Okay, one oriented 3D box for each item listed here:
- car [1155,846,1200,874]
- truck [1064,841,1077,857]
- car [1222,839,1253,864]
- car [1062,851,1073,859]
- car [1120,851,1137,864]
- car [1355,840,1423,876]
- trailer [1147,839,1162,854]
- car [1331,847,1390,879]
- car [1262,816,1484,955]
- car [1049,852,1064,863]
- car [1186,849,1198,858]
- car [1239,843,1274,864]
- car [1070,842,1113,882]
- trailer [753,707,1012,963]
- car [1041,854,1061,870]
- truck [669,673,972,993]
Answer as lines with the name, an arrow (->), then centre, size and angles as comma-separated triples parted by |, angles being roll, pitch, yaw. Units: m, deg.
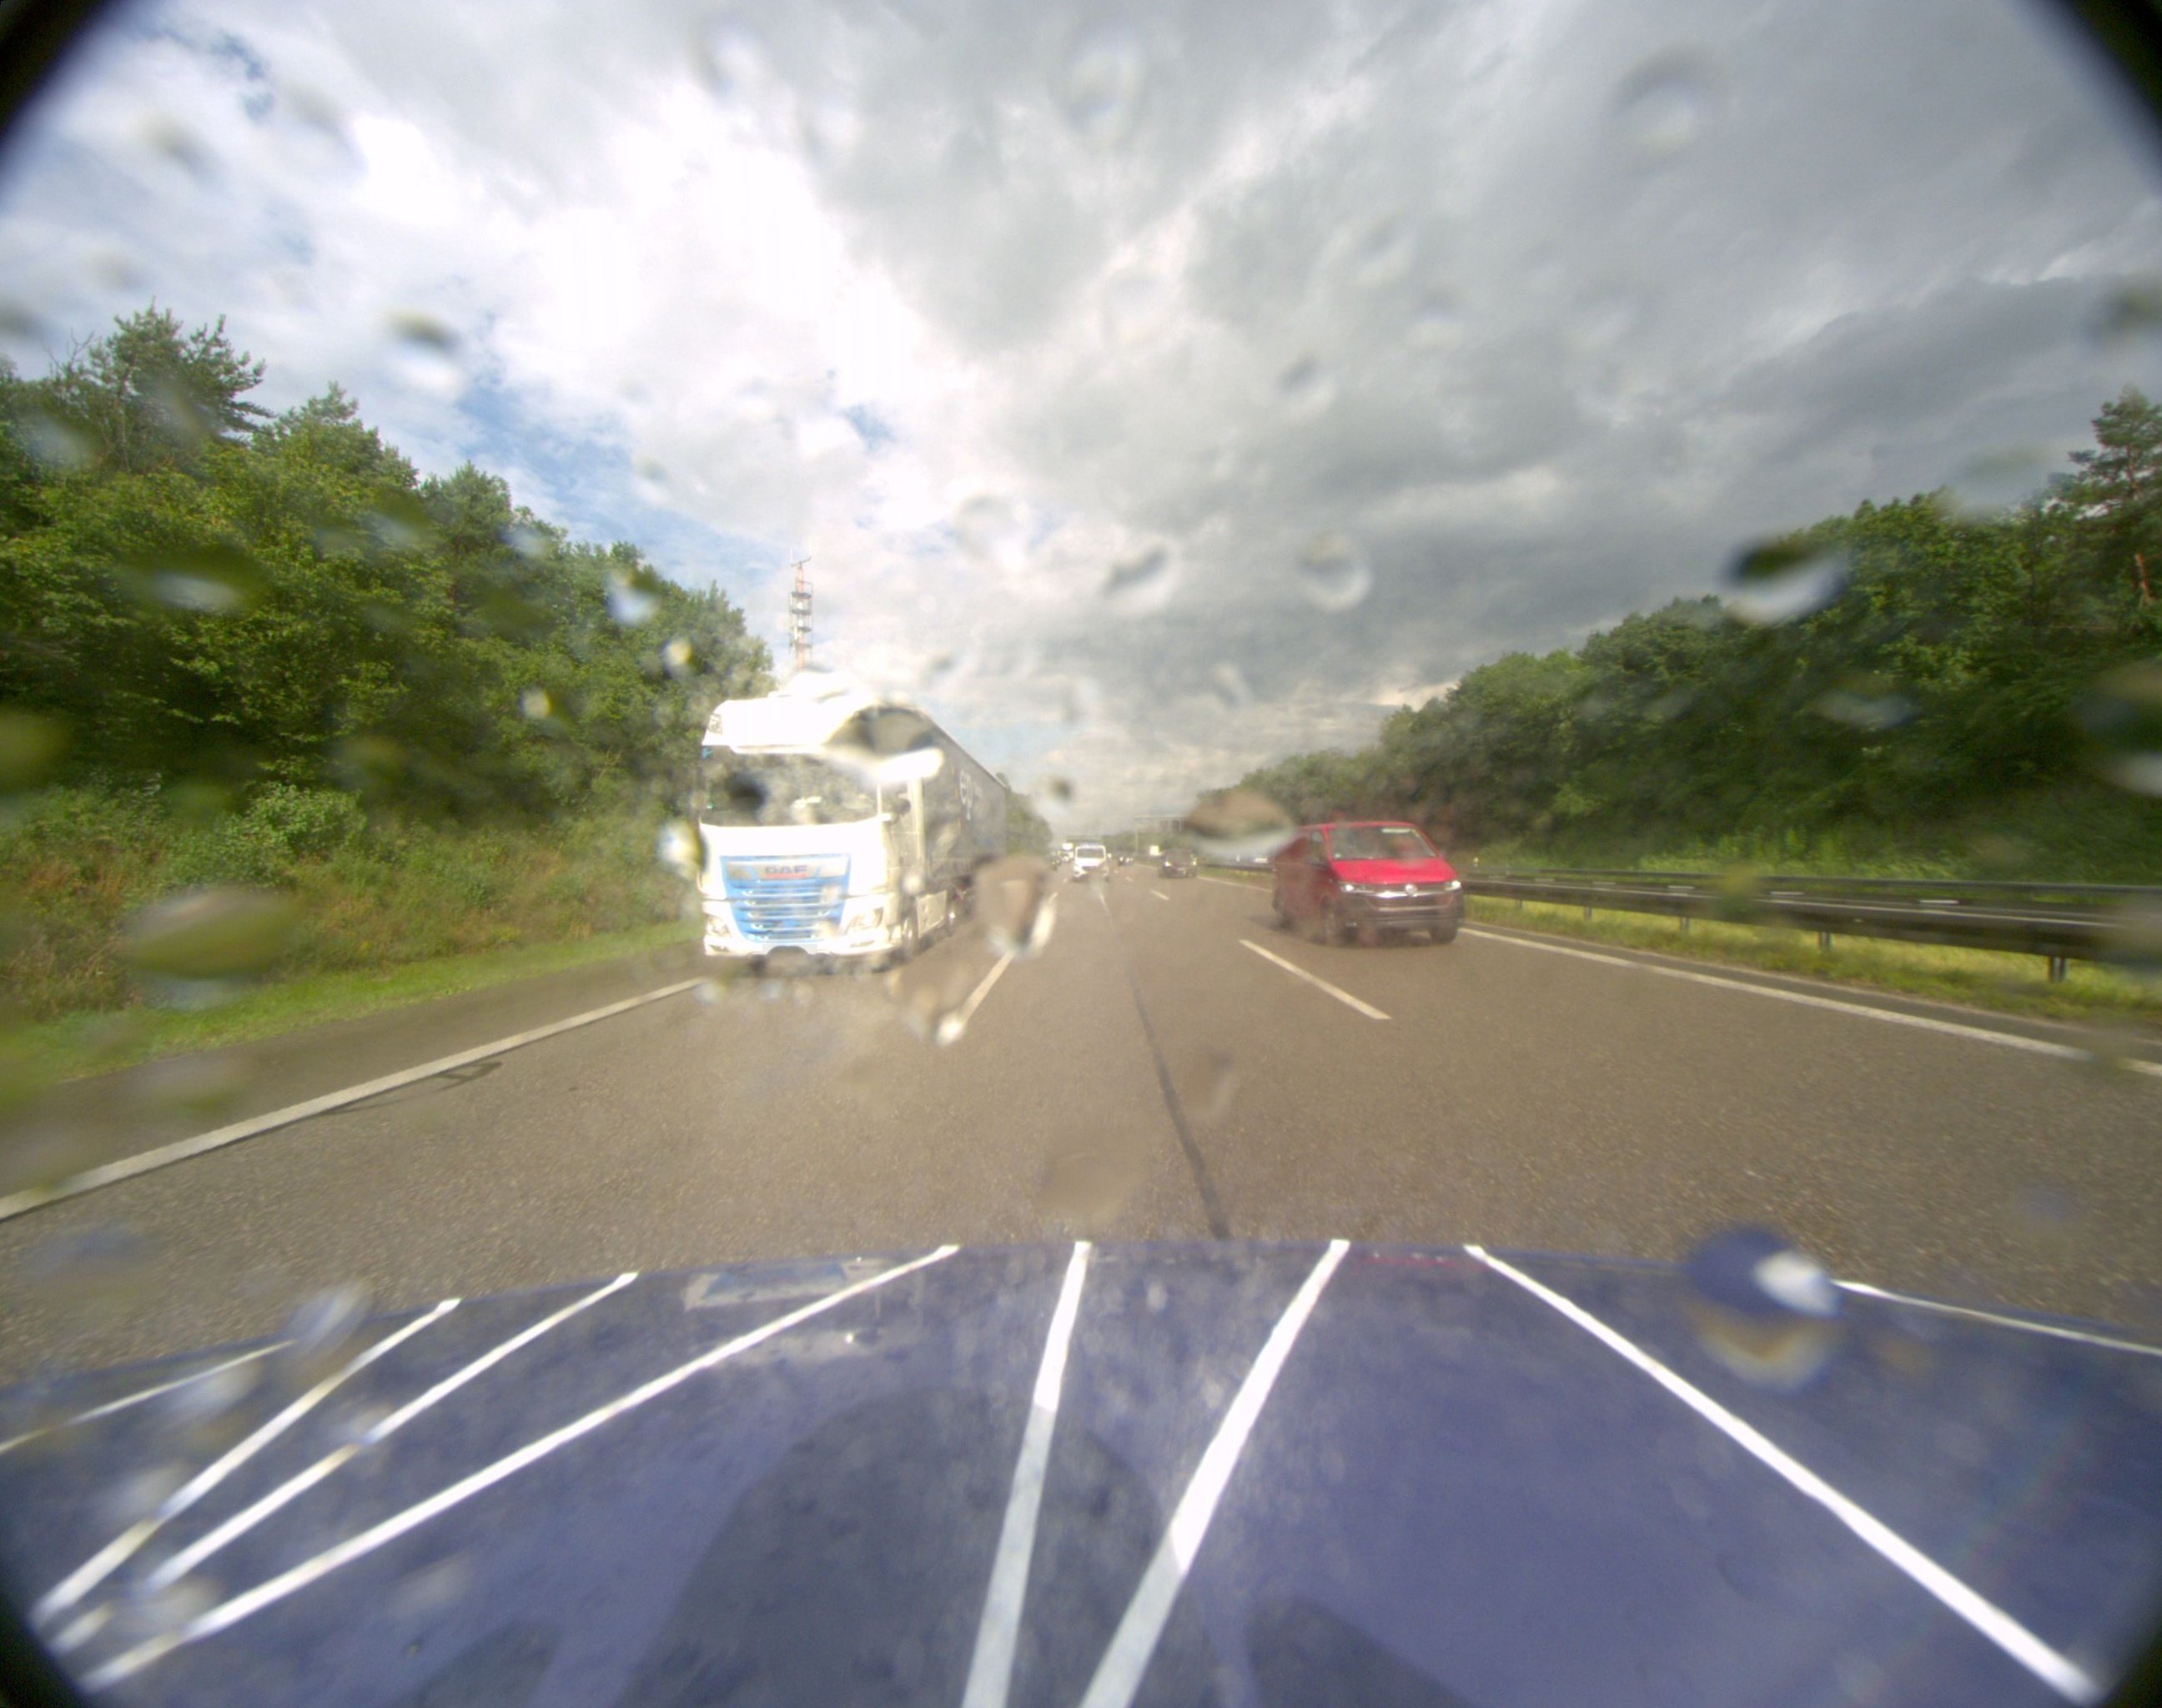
car -> 5.626, 0.314, 44.864 | 2.009, 1.488, 4.838 | -2, 1, 1
truck -> -2.515, -1.241, 182.287 | 3.064, 3.827, 8.799 | -1, 0, 0
car -> 19.110, -0.294, 93.377 | 2.268, 2.853, 6.930 | -2, 1, 0
car -> -2.532, 0.164, 139.106 | 1.799, 1.410, 4.838 | -2, 1, 1
car -> 5.792, 0.391, 92.918 | 1.799, 1.410, 4.838 | -2, 1, 1
car -> 18.097, 0.184, 44.886 | 1.873, 1.935, 5.040 | -2, 1, 0
trailer -> 22.295, -2.292, 232.102 | 2.870, 4.347, 14.089 | -2, 1, 0
car -> 14.216, 0.424, 38.808 | 1.607, 1.455, 3.651 | -2, 1, 0
car -> 4.639, 0.413, 12.988 | 1.927, 1.855, 4.838 | -2, 1, 1
car -> -3.314, 0.495, 105.171 | 1.799, 1.410, 4.838 | -2, 1, 1
car -> 22.348, -0.095, 153.701 | 1.736, 1.653, 4.235 | -2, 1, 0
car -> 15.071, -0.057, 65.293 | 1.850, 1.653, 4.661 | -2, 1, 0
car -> 0.575, 0.403, 42.323 | 2.124, 1.988, 5.982 | -2, 1, 1
trailer -> -3.783, -0.365, 19.109 | 2.641, 3.972, 14.062 | -2, 1, 0
car -> -2.982, 0.763, 76.416 | 1.799, 1.410, 4.838 | -2, 1, 1
truck -> -3.829, -0.303, 13.309 | 2.613, 3.973, 7.289 | -2, 1, 0
